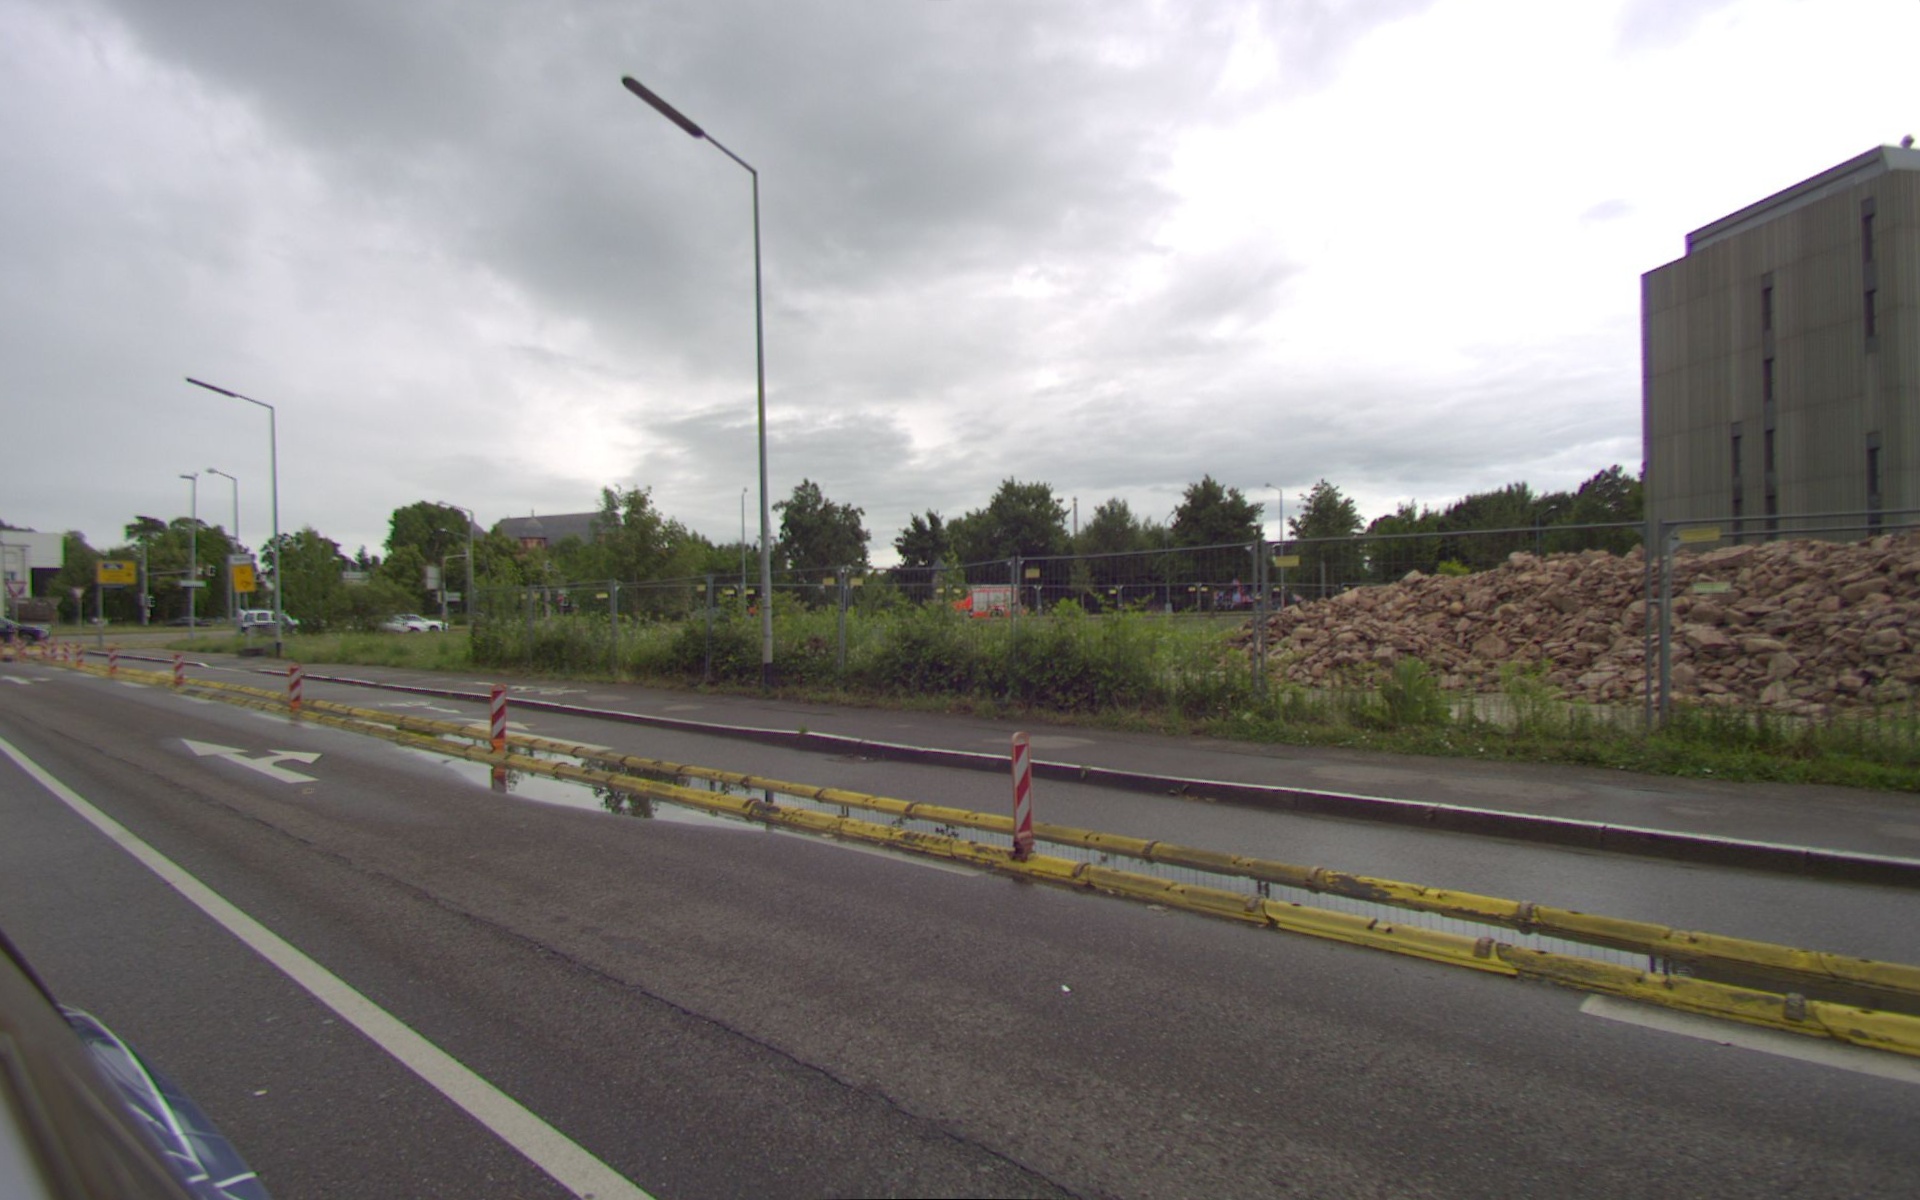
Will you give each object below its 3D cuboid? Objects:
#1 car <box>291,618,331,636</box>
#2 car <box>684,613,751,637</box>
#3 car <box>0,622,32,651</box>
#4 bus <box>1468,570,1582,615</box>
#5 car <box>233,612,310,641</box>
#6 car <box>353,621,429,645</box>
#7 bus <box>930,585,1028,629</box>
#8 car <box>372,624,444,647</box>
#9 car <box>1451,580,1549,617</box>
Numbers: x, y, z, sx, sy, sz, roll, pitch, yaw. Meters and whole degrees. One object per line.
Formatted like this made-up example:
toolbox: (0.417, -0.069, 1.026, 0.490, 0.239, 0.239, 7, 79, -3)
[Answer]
car: (-57.284, 2.404, 89.361, 1.888, 1.466, 4.490, -1, 0, -19)
car: (-18.180, 1.854, 75.758, 4.670, 1.680, 1.928, -1, 0, -20)
car: (-54.794, 2.084, 56.398, 4.405, 1.578, 1.925, -1, 0, -40)
bus: (54.336, -0.741, 97.463, 9.733, 4.012, 2.739, -1, -1, -8)
car: (-48.671, 1.869, 71.630, 4.410, 1.918, 1.927, -1, 0, -34)
car: (-38.205, 2.192, 67.995, 4.357, 1.468, 1.838, -1, 0, -31)
bus: (1.666, 0.632, 90.273, 8.265, 3.676, 2.739, -1, -1, -8)
car: (-39.358, 2.493, 72.215, 4.399, 1.468, 1.928, -1, 0, -28)
car: (42.990, -0.133, 80.695, 6.474, 2.725, 2.400, -2, -1, -5)
